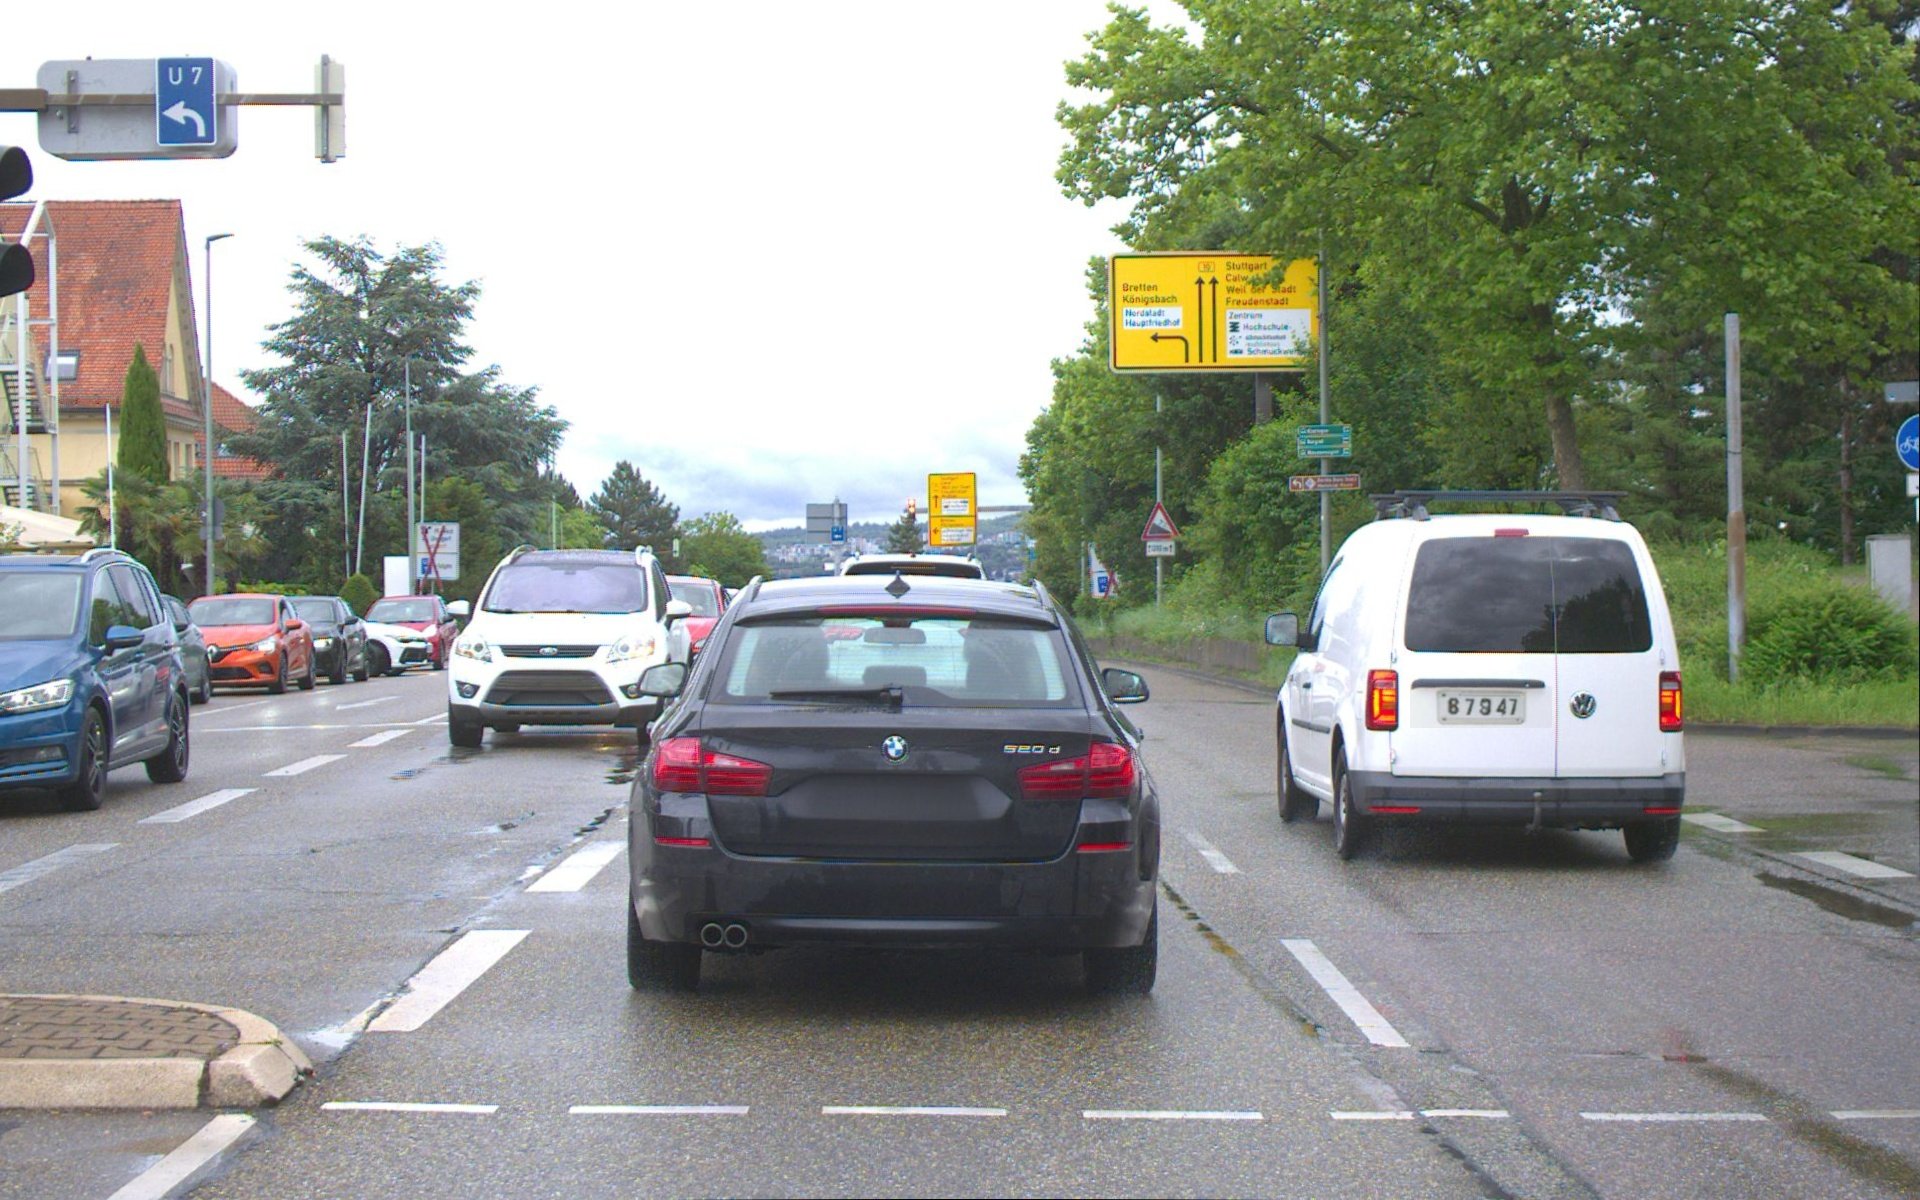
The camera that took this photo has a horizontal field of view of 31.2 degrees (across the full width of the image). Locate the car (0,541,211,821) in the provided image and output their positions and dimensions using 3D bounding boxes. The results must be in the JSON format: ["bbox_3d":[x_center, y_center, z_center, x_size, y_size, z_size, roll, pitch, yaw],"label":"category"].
[{"bbox_3d":[-6.256,0.466,22.485,1.839,1.644,4.298,-2,1,-2],"label":"car"}]

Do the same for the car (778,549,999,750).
[{"bbox_3d":[-0.622,0.394,31.370,1.868,1.668,4.000,1,1,0],"label":"car"}]

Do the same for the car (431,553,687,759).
[{"bbox_3d":[-3.421,0.426,30.011,1.839,1.644,4.298,0,1,-2],"label":"car"}]

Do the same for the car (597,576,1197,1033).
[{"bbox_3d":[-0.214,0.661,12.979,1.899,1.437,4.000,1,0,0],"label":"car"}]

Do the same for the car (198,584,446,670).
[{"bbox_3d":[-11.377,0.484,61.407,4.032,1.472,1.642,-1,0,8],"label":"car"}]

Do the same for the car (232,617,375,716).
[{"bbox_3d":[-10.562,1.045,55.554,1.601,1.395,4.406,-2,1,-2],"label":"car"}]

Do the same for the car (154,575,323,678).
[{"bbox_3d":[-10.210,0.350,48.897,1.622,1.327,3.947,-1,1,-1],"label":"car"}]

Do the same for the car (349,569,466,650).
[{"bbox_3d":[-11.107,0.170,69.286,1.770,1.563,4.000,0,1,-1],"label":"car"}]

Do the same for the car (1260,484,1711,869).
[{"bbox_3d":[2.747,0.335,18.783,1.764,1.871,3.806,1,1,-1],"label":"car"}]

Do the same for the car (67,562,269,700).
[{"bbox_3d":[-10.070,0.358,43.958,1.676,1.612,4.000,-1,1,-1],"label":"car"}]

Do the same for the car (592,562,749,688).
[{"bbox_3d":[-3.424,0.304,41.215,1.632,1.429,4.144,0,0,-1],"label":"car"}]

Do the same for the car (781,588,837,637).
[{"bbox_3d":[-5.522,0.441,125.954,1.868,1.668,4.000,1,1,0],"label":"car"}]
